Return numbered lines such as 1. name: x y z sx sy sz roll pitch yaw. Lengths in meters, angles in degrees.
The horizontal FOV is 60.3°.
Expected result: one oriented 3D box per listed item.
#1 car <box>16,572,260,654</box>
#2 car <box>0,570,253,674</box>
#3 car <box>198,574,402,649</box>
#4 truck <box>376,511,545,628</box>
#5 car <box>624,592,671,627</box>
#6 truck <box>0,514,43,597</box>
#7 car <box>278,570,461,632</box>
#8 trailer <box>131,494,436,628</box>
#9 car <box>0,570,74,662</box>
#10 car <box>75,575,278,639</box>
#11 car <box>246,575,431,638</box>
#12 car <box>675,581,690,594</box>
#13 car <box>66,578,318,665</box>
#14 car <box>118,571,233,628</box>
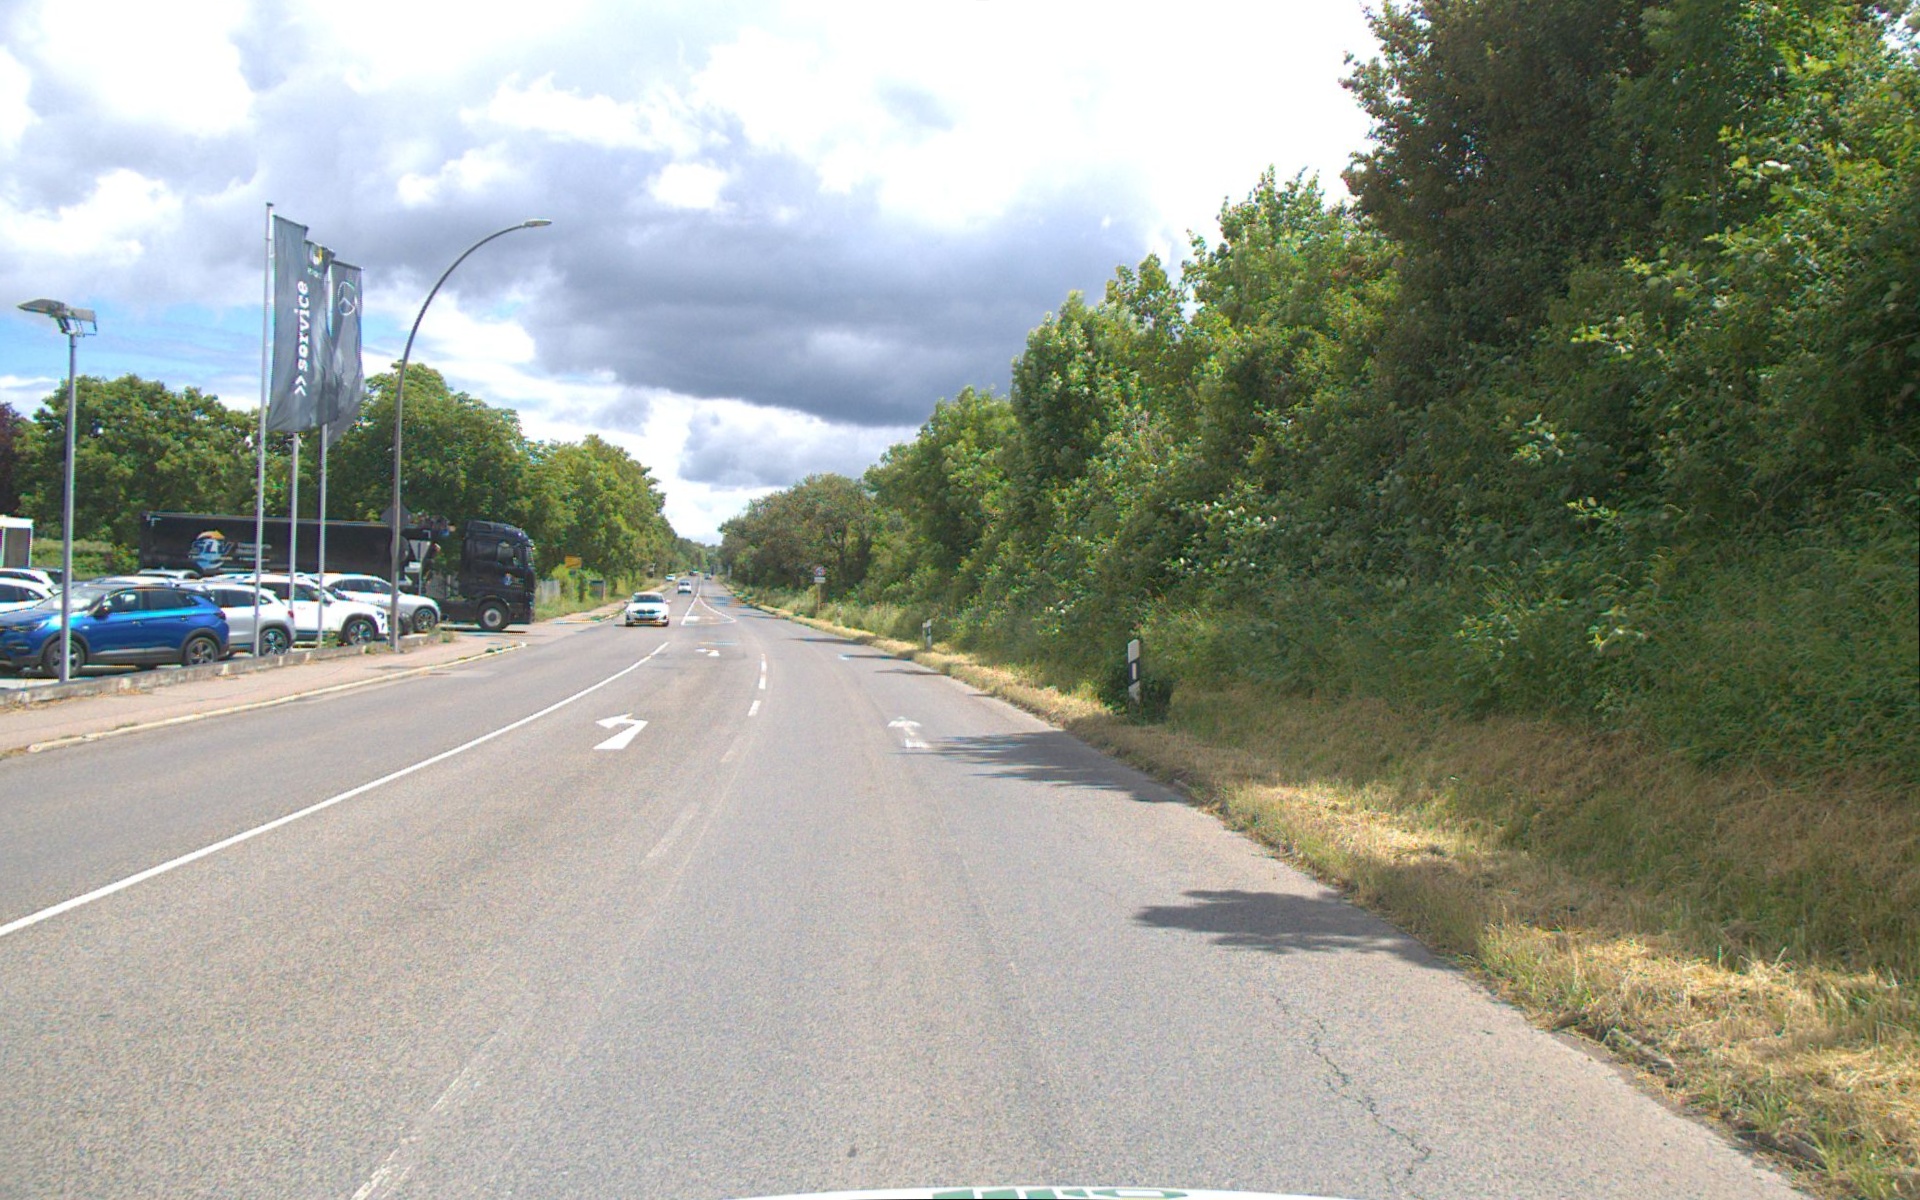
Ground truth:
1. car: -17.799 0.255 36.033 1.832 1.593 4.514 3 1 28
2. car: -15.522 0.388 30.228 1.853 1.697 4.564 3 1 28
3. car: -16.147 0.303 40.540 4.257 1.707 1.910 2 0 -40
4. truck: -17.581 -1.048 58.546 5.460 3.890 2.974 1 0 -14
5. car: -13.580 0.393 72.067 1.957 1.476 4.416 0 0 -10
6. truck: -37.763 -1.682 60.069 2.599 3.102 8.598 1 0 13
7. car: -17.098 0.058 48.110 1.948 1.633 4.725 3 0 35
8. trailer: -22.991 -1.232 56.554 9.315 4.154 3.294 1 0 -25
9. car: -18.658 0.286 30.398 1.761 1.653 3.955 2 1 22
10. car: -20.495 0.189 43.438 1.828 1.493 4.548 3 1 31
11. car: -16.518 0.180 44.075 4.282 1.491 1.774 2 2 -37
12. car: -32.466 -1.490 193.803 1.630 1.457 3.686 0 1 -8
13. car: -15.784 0.410 34.236 1.832 1.593 4.514 3 1 28
14. car: -23.559 -0.041 49.870 1.764 1.629 4.756 0 0 -8
